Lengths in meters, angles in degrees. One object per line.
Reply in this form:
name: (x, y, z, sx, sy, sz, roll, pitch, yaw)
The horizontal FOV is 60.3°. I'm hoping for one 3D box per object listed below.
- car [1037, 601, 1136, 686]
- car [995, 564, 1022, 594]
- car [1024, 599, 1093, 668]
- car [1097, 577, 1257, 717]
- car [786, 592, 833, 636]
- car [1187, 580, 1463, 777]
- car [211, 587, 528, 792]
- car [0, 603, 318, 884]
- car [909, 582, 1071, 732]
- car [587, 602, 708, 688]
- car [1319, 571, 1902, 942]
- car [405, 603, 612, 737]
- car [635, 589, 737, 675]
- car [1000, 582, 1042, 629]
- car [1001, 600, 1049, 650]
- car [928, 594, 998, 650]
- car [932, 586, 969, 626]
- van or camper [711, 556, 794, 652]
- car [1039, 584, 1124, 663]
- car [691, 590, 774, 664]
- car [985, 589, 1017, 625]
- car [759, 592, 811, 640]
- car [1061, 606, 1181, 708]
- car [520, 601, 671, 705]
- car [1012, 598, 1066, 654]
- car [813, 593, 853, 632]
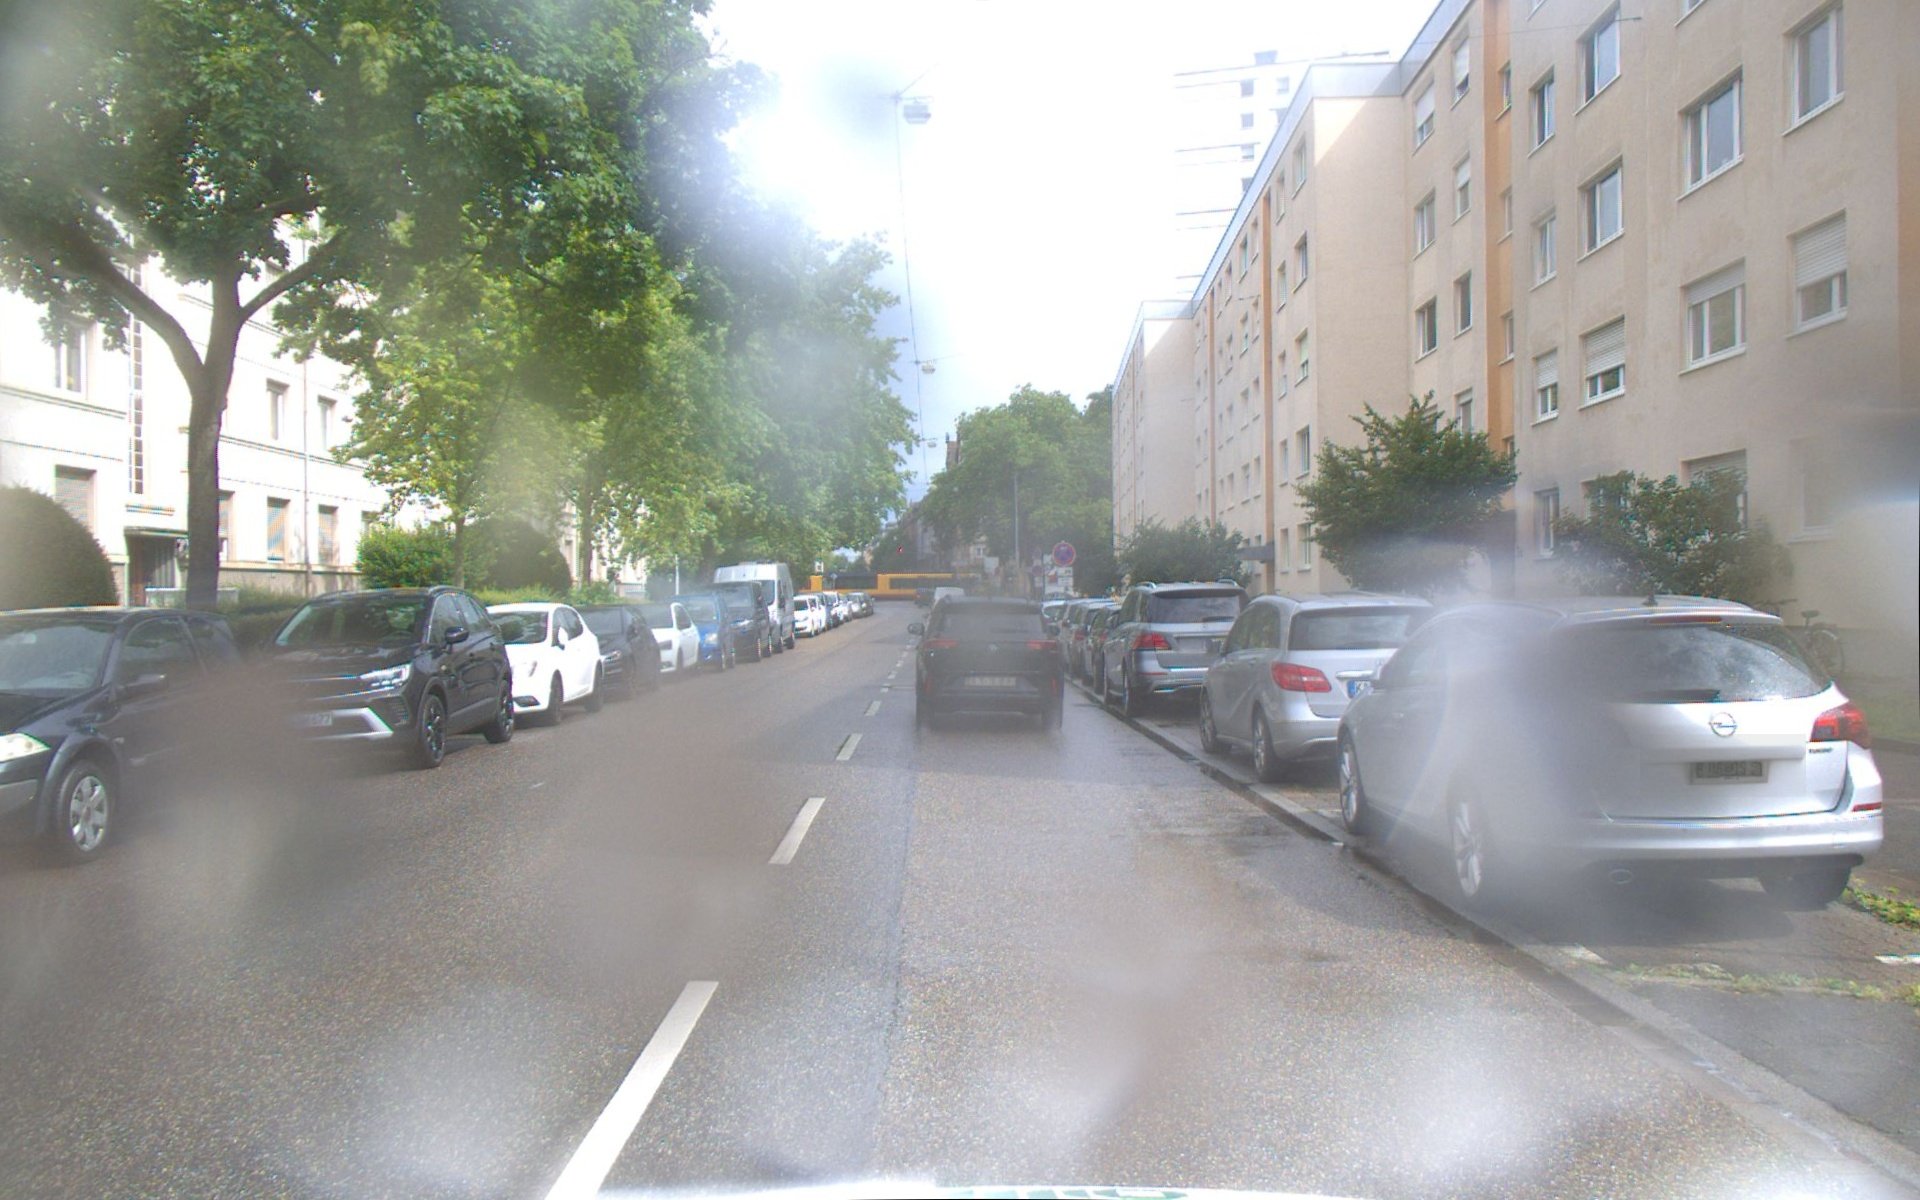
car: (2.470, 0.810, 33.132, 1.572, 1.532, 4.031, -2, 0, -1)
car: (3.144, -1.354, 106.900, 1.631, 1.870, 4.000, -1, 0, 1)
car: (2.703, 0.887, 46.152, 1.572, 1.796, 4.031, -2, 0, -1)
car: (2.903, 0.587, 22.872, 1.572, 1.701, 4.031, -2, 0, -1)
car: (-6.035, 0.540, 66.594, 1.554, 1.668, 3.919, -2, 0, -2)
car: (3.219, 0.627, 15.338, 1.572, 1.532, 4.031, -2, 0, -1)
car: (-5.299, 0.718, 15.380, 1.554, 1.603, 4.013, -2, 0, -2)
car: (-5.675, 0.775, 10.648, 1.554, 1.442, 4.051, -2, 0, -2)
car: (0.442, 0.631, 21.010, 1.834, 1.674, 4.063, 1, 1, 3)
car: (-5.759, 0.784, 30.874, 1.554, 1.442, 3.919, -2, 0, -2)
car: (3.289, 0.678, 9.260, 1.660, 1.565, 4.032, -2, 0, 0)
car: (-5.495, 0.791, 20.595, 1.554, 1.442, 3.919, -2, 0, -2)
car: (-5.756, 0.643, 35.153, 1.554, 1.668, 3.919, -2, 0, -2)
car: (2.525, 0.203, 69.396, 1.631, 1.870, 4.000, -1, 0, 1)
car: (2.471, 0.928, 63.643, 1.572, 1.796, 4.031, -2, 0, -1)
car: (0.127, 0.629, 47.785, 1.775, 1.529, 4.001, 1, -1, 3)
car: (-0.506, 0.355, 90.961, 1.798, 2.140, 4.001, 1, -1, 2)
van or camper: (-5.838, 0.107, 47.083, 1.766, 2.537, 5.019, -2, 0, -2)
car: (2.752, 0.502, 38.131, 1.572, 1.664, 4.031, -2, 0, -1)
car: (-5.550, 0.628, 40.734, 1.554, 1.668, 3.919, -2, 0, -2)
car: (2.176, 0.345, 88.512, 1.631, 1.870, 4.000, -1, 0, 1)
car: (-6.442, 0.581, 61.075, 1.554, 1.668, 3.919, -2, 0, -2)
car: (2.680, 0.915, 28.285, 1.572, 1.532, 4.031, -2, 0, -1)
car: (-5.614, 0.768, 25.886, 1.554, 1.442, 3.919, -2, 0, -2)
car: (2.691, 0.869, 56.909, 1.572, 1.796, 4.031, -2, 0, -1)
car: (-5.757, 0.544, 75.039, 1.554, 1.668, 3.919, -2, 0, -2)
